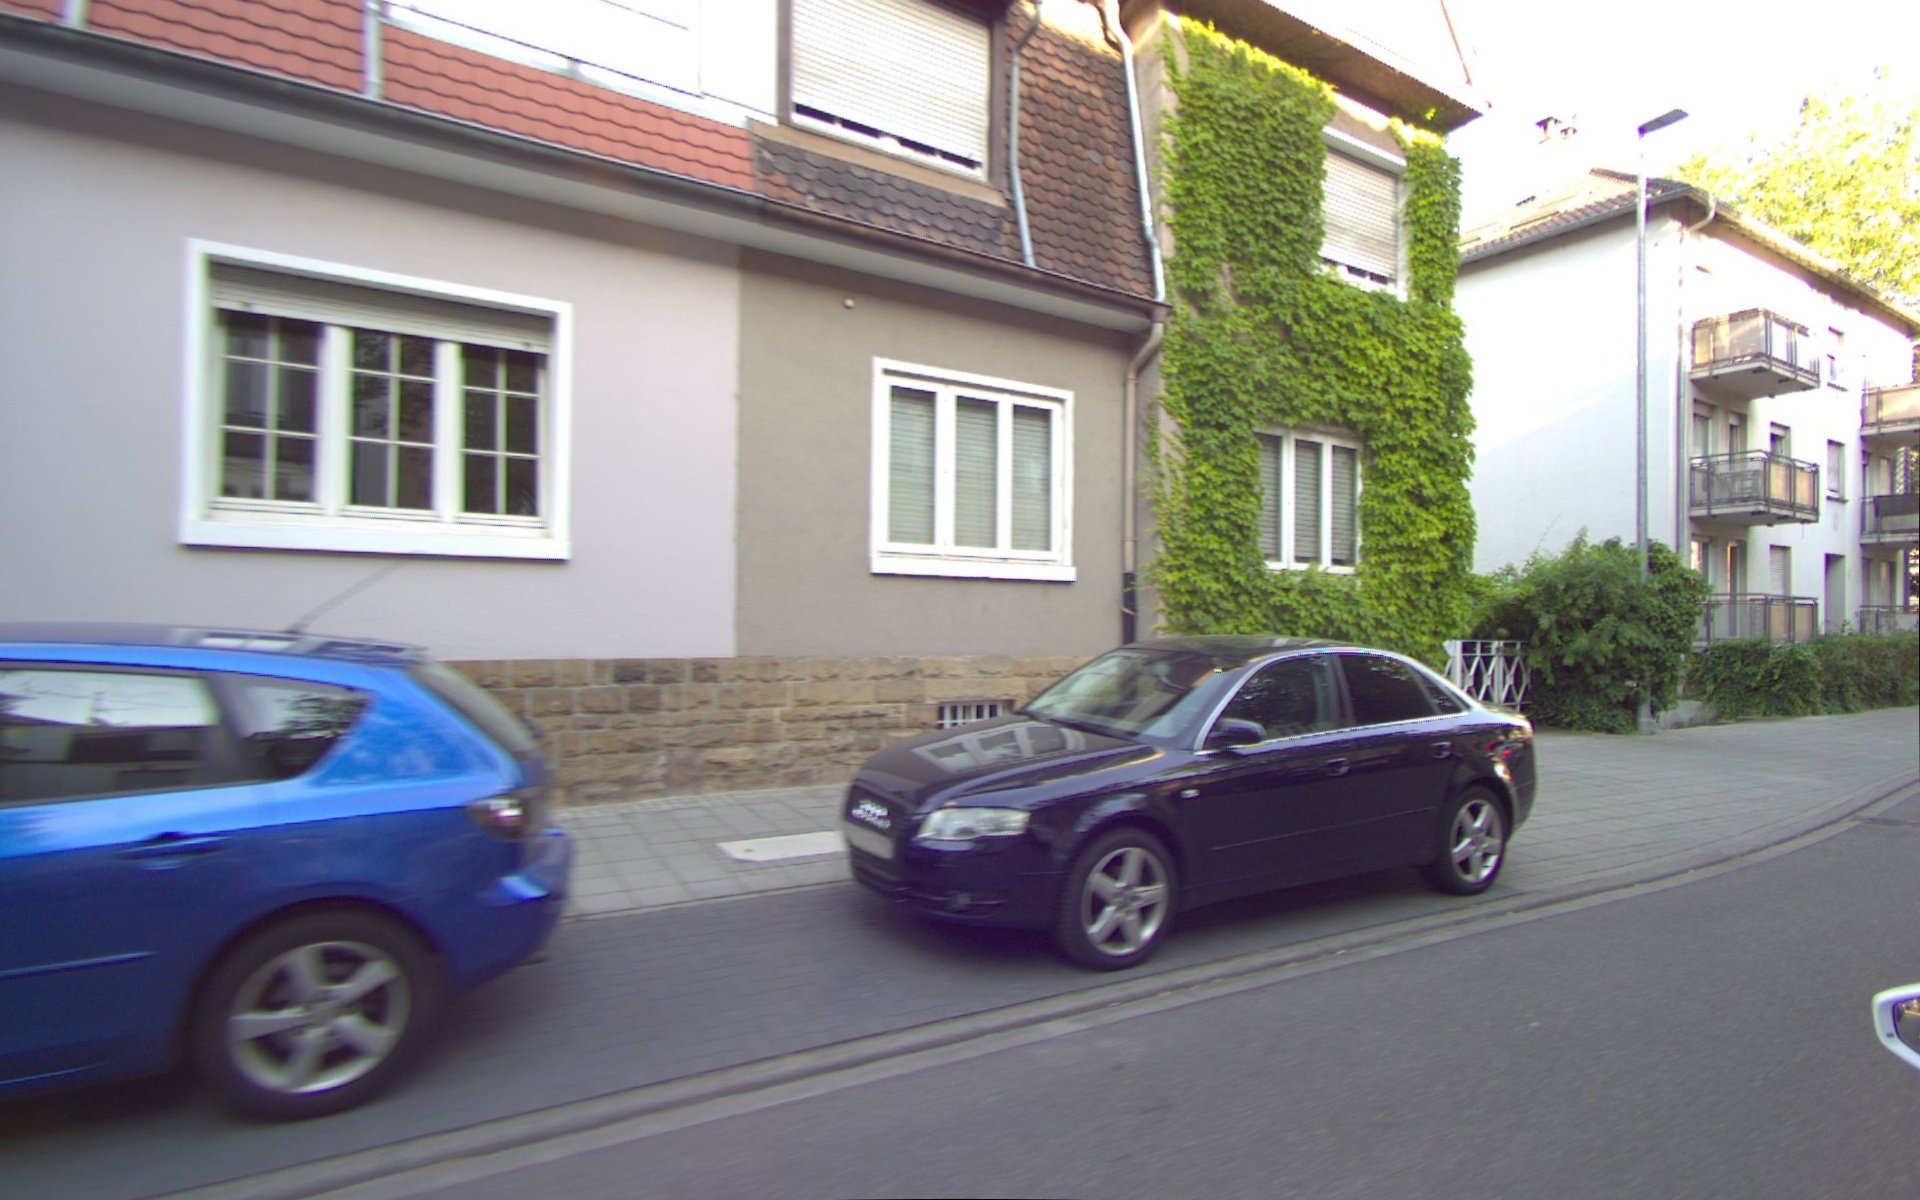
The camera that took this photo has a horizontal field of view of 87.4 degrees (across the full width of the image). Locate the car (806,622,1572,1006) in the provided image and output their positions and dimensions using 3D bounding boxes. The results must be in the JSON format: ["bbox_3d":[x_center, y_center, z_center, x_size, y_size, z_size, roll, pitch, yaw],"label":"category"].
[{"bbox_3d":[1.447,0.895,5.778,4.306,1.466,1.687,1,0,-30],"label":"car"}]

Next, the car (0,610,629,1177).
[{"bbox_3d":[-3.360,0.781,3.140,4.186,1.466,1.646,1,0,-30],"label":"car"}]
